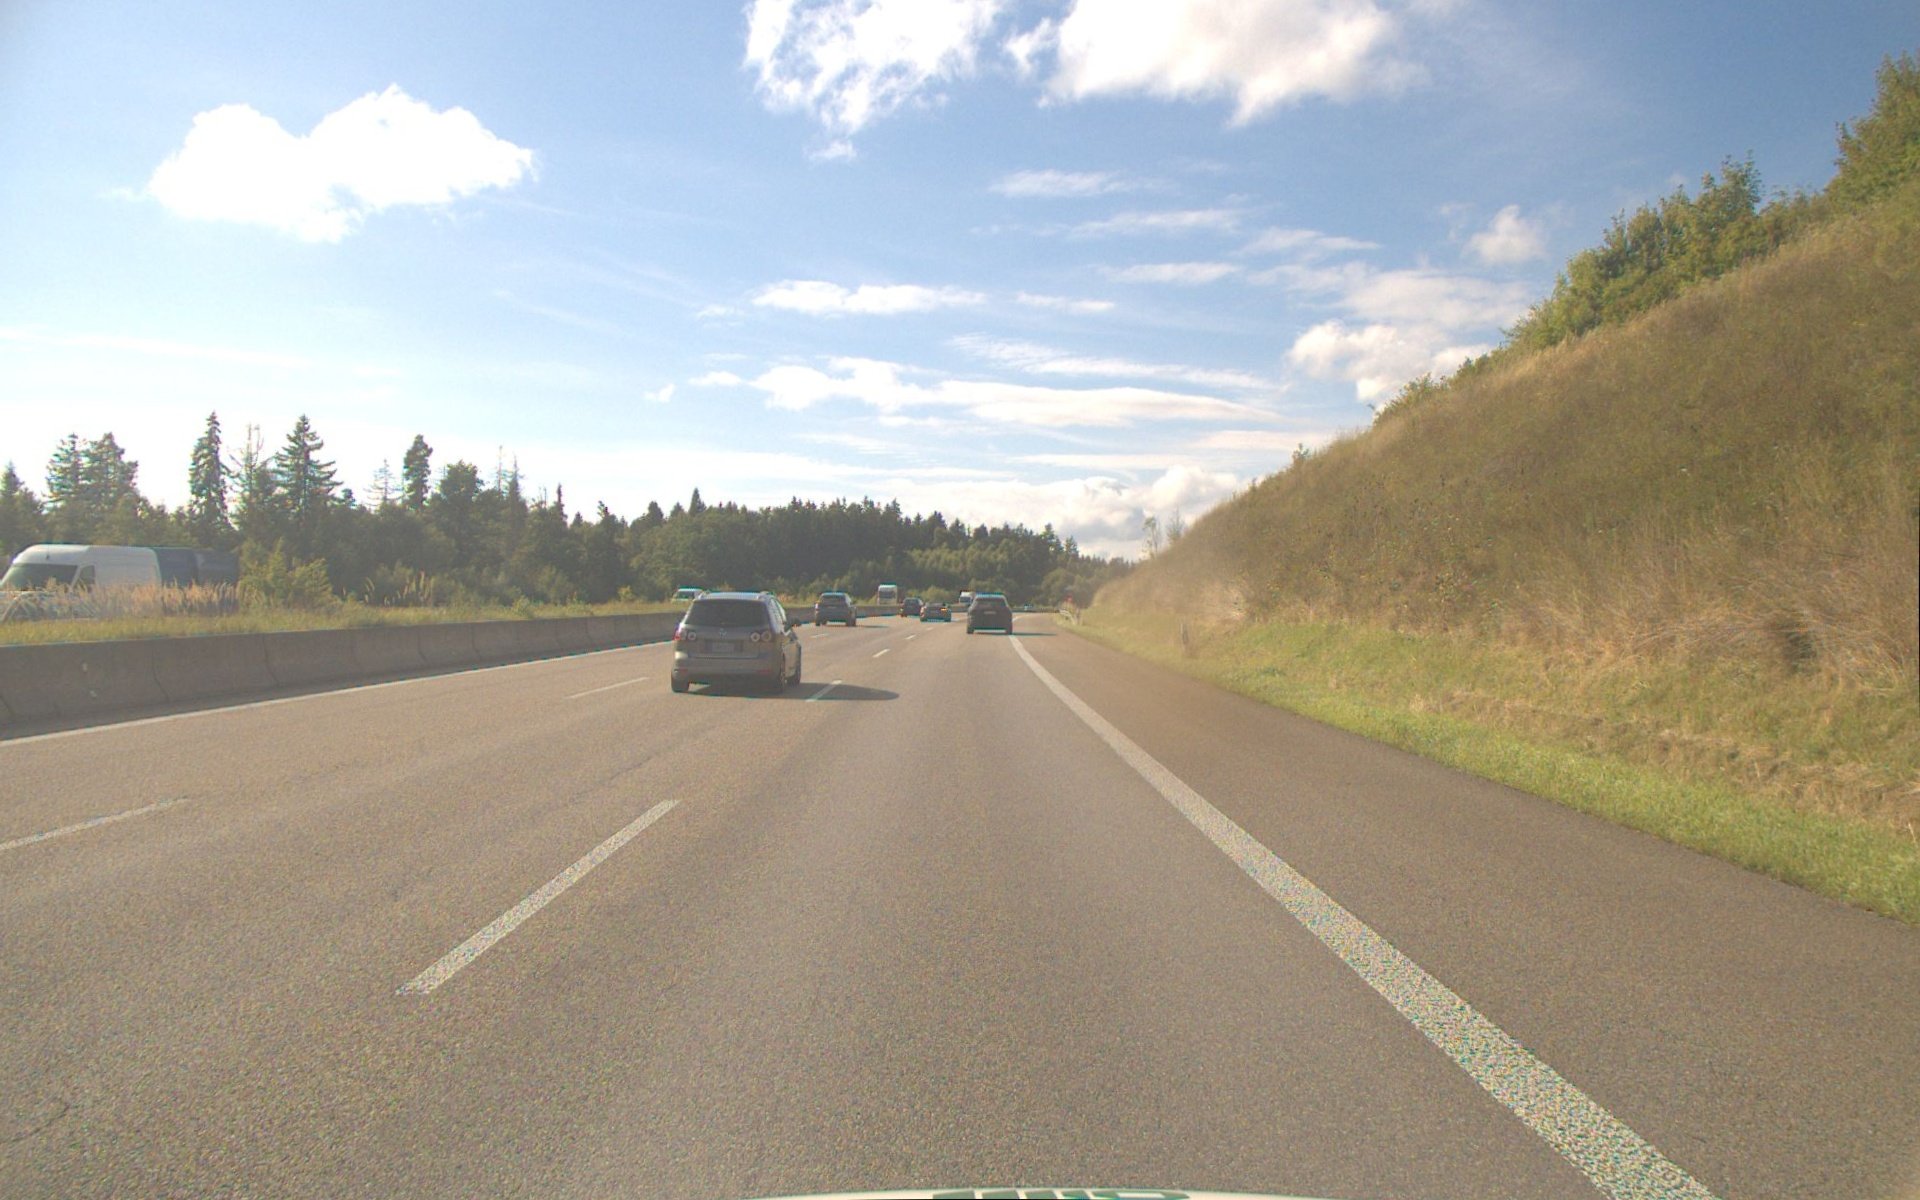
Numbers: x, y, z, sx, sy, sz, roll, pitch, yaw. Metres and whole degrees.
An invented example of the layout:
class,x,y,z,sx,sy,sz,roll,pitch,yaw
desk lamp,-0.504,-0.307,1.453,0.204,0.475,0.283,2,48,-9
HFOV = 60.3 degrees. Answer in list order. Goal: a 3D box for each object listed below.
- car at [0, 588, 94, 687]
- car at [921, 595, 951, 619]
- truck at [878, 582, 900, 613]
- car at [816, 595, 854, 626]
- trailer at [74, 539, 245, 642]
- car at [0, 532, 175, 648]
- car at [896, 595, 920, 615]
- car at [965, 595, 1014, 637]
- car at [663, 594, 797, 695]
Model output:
class,x,y,z,sx,sy,sz,roll,pitch,yaw
car,-15.855,0.568,26.705,1.850,1.533,3.574,1,0,0
car,-1.535,0.447,106.805,1.835,1.523,3.879,1,0,0
truck,-10.609,-0.371,246.922,2.744,4.469,5.466,0,0,3
car,-6.352,0.503,84.431,1.836,1.523,3.877,1,0,-3
trailer,-22.667,-0.256,47.129,2.224,2.730,5.561,1,0,-1
car,-22.547,-0.249,42.312,2.224,2.730,5.887,1,0,-1
car,-4.162,0.401,133.473,1.835,1.523,3.879,1,0,-1
car,1.216,0.661,69.936,1.836,1.704,3.888,1,0,-2
car,-3.681,0.679,27.061,1.836,1.523,3.877,1,0,-3
